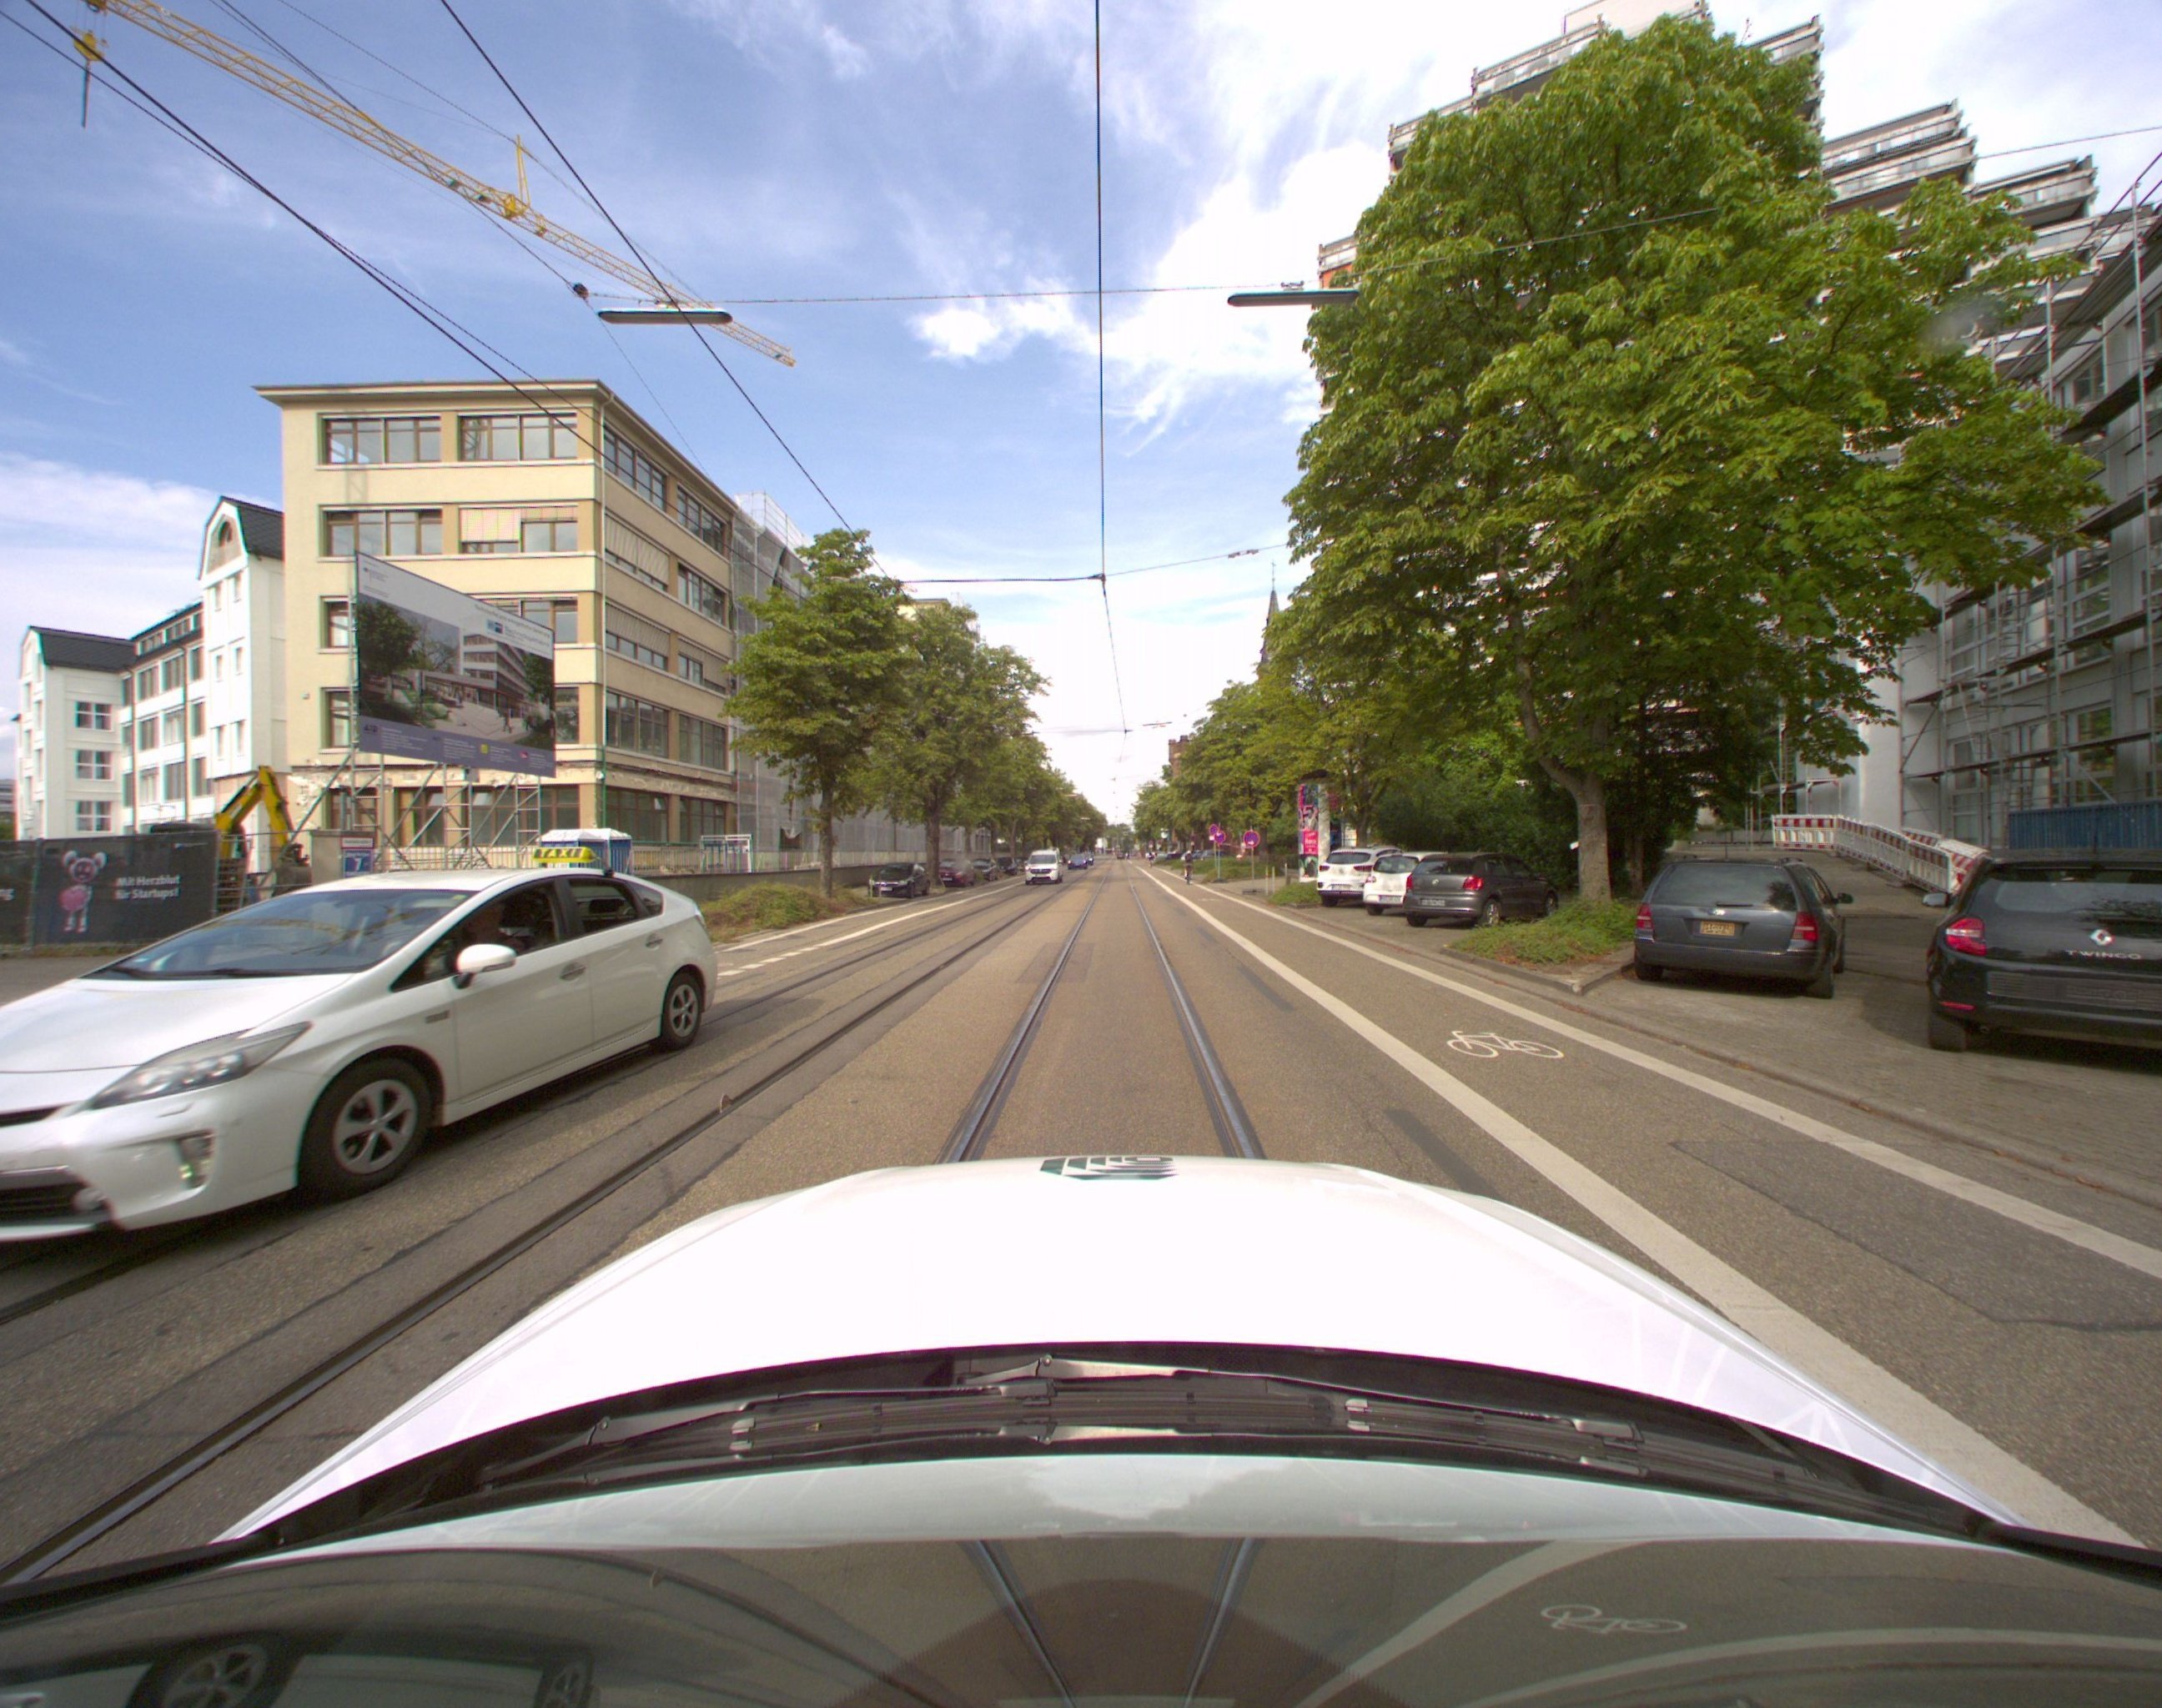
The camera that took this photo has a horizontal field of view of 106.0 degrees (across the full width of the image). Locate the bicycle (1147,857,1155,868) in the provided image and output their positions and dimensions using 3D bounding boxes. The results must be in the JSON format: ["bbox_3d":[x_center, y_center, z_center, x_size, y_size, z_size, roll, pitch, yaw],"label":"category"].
[{"bbox_3d":[7.147,0.841,83.266,0.661,1.043,1.842,-1,0,3],"label":"bicycle"}]

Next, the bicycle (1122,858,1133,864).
[{"bbox_3d":[9.597,1.412,167.898,2.260,1.189,0.771,-1,0,10],"label":"bicycle"}]

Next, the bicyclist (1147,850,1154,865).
[{"bbox_3d":[7.147,0.369,83.268,0.656,1.496,0.930,-1,0,3],"label":"bicyclist"}]

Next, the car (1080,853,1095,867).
[{"bbox_3d":[0.841,0.714,103.352,1.726,1.628,4.380,-2,0,2],"label":"car"}]

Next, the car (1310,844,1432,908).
[{"bbox_3d":[8.053,0.561,22.491,3.667,1.602,1.661,0,-1,-43],"label":"car"}]

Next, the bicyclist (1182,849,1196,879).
[{"bbox_3d":[5.389,0.507,40.553,0.591,1.459,0.875,-1,0,0],"label":"bicyclist"}]

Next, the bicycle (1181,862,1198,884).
[{"bbox_3d":[5.388,0.939,40.454,0.591,1.043,1.978,-1,0,0],"label":"bicycle"}]

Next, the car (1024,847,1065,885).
[{"bbox_3d":[-1.869,0.575,43.024,1.725,1.884,4.381,-1,0,3],"label":"car"}]

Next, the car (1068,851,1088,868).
[{"bbox_3d":[-0.243,0.531,78.610,1.725,1.496,4.381,-1,0,2],"label":"car"}]

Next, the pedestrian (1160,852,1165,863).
[{"bbox_3d":[14.556,0.610,144.637,0.742,1.790,0.734,-1,-1,17],"label":"pedestrian"}]

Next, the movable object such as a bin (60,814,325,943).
[{"bbox_3d":[-18.351,0.495,16.963,3.030,2.443,2.506,-1,-1,12],"label":"movable object such as a bin"}]

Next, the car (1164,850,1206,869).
[{"bbox_3d":[9.010,0.509,70.493,3.667,1.602,1.661,0,-1,-43],"label":"car"}]

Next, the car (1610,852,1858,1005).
[{"bbox_3d":[7.884,0.702,9.679,4.194,1.415,1.794,0,-1,-45],"label":"car"}]

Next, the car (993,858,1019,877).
[{"bbox_3d":[-5.776,0.995,62.727,1.585,1.402,3.962,0,0,0],"label":"car"}]

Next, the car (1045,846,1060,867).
[{"bbox_3d":[-3.698,0.294,106.778,1.715,2.704,5.470,0,0,0],"label":"car"}]

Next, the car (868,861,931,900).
[{"bbox_3d":[-7.169,1.019,32.567,1.585,1.402,3.962,0,0,0],"label":"car"}]

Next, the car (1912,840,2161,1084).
[{"bbox_3d":[7.889,0.666,6.491,3.436,1.537,1.577,-1,0,-41],"label":"car"}]

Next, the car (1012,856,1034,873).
[{"bbox_3d":[-5.171,0.926,73.019,1.585,1.402,3.962,0,0,0],"label":"car"}]

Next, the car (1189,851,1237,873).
[{"bbox_3d":[10.001,0.595,61.516,3.667,1.602,1.661,0,-1,-43],"label":"car"}]

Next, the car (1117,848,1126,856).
[{"bbox_3d":[9.302,-0.371,186.964,1.788,1.824,4.680,0,0,2],"label":"car"}]

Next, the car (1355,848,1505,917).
[{"bbox_3d":[8.296,0.623,19.266,3.663,1.474,1.663,0,-1,-37],"label":"car"}]

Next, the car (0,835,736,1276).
[{"bbox_3d":[-4.080,0.751,5.178,1.725,1.612,4.337,-1,0,2],"label":"car"}]

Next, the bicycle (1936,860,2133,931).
[{"bbox_3d":[15.117,0.629,12.998,1.952,1.043,0.598,0,0,39],"label":"bicycle"}]

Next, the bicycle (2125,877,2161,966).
[{"bbox_3d":[13.616,0.786,9.425,1.817,1.043,0.456,-2,-1,31],"label":"bicycle"}]

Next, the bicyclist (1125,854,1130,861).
[{"bbox_3d":[9.636,0.764,167.886,0.841,1.504,0.771,-1,0,10],"label":"bicyclist"}]

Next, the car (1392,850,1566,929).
[{"bbox_3d":[8.026,0.639,16.343,3.663,1.419,1.663,0,-1,-37],"label":"car"}]

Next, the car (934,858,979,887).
[{"bbox_3d":[-6.549,0.945,43.219,1.629,1.496,3.964,0,0,2],"label":"car"}]

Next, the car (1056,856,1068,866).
[{"bbox_3d":[-2.812,0.961,119.247,1.585,1.402,3.962,0,0,0],"label":"car"}]

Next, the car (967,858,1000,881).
[{"bbox_3d":[-6.233,0.953,52.419,1.585,1.402,3.962,0,0,0],"label":"car"}]

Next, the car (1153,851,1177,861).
[{"bbox_3d":[14.865,0.395,144.625,3.978,1.693,1.998,-1,0,-3],"label":"car"}]

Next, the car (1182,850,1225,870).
[{"bbox_3d":[10.320,0.501,68.312,3.667,1.602,1.661,0,-1,-43],"label":"car"}]

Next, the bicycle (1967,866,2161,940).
[{"bbox_3d":[14.752,0.703,12.163,1.952,1.043,0.598,-1,0,30],"label":"bicycle"}]
